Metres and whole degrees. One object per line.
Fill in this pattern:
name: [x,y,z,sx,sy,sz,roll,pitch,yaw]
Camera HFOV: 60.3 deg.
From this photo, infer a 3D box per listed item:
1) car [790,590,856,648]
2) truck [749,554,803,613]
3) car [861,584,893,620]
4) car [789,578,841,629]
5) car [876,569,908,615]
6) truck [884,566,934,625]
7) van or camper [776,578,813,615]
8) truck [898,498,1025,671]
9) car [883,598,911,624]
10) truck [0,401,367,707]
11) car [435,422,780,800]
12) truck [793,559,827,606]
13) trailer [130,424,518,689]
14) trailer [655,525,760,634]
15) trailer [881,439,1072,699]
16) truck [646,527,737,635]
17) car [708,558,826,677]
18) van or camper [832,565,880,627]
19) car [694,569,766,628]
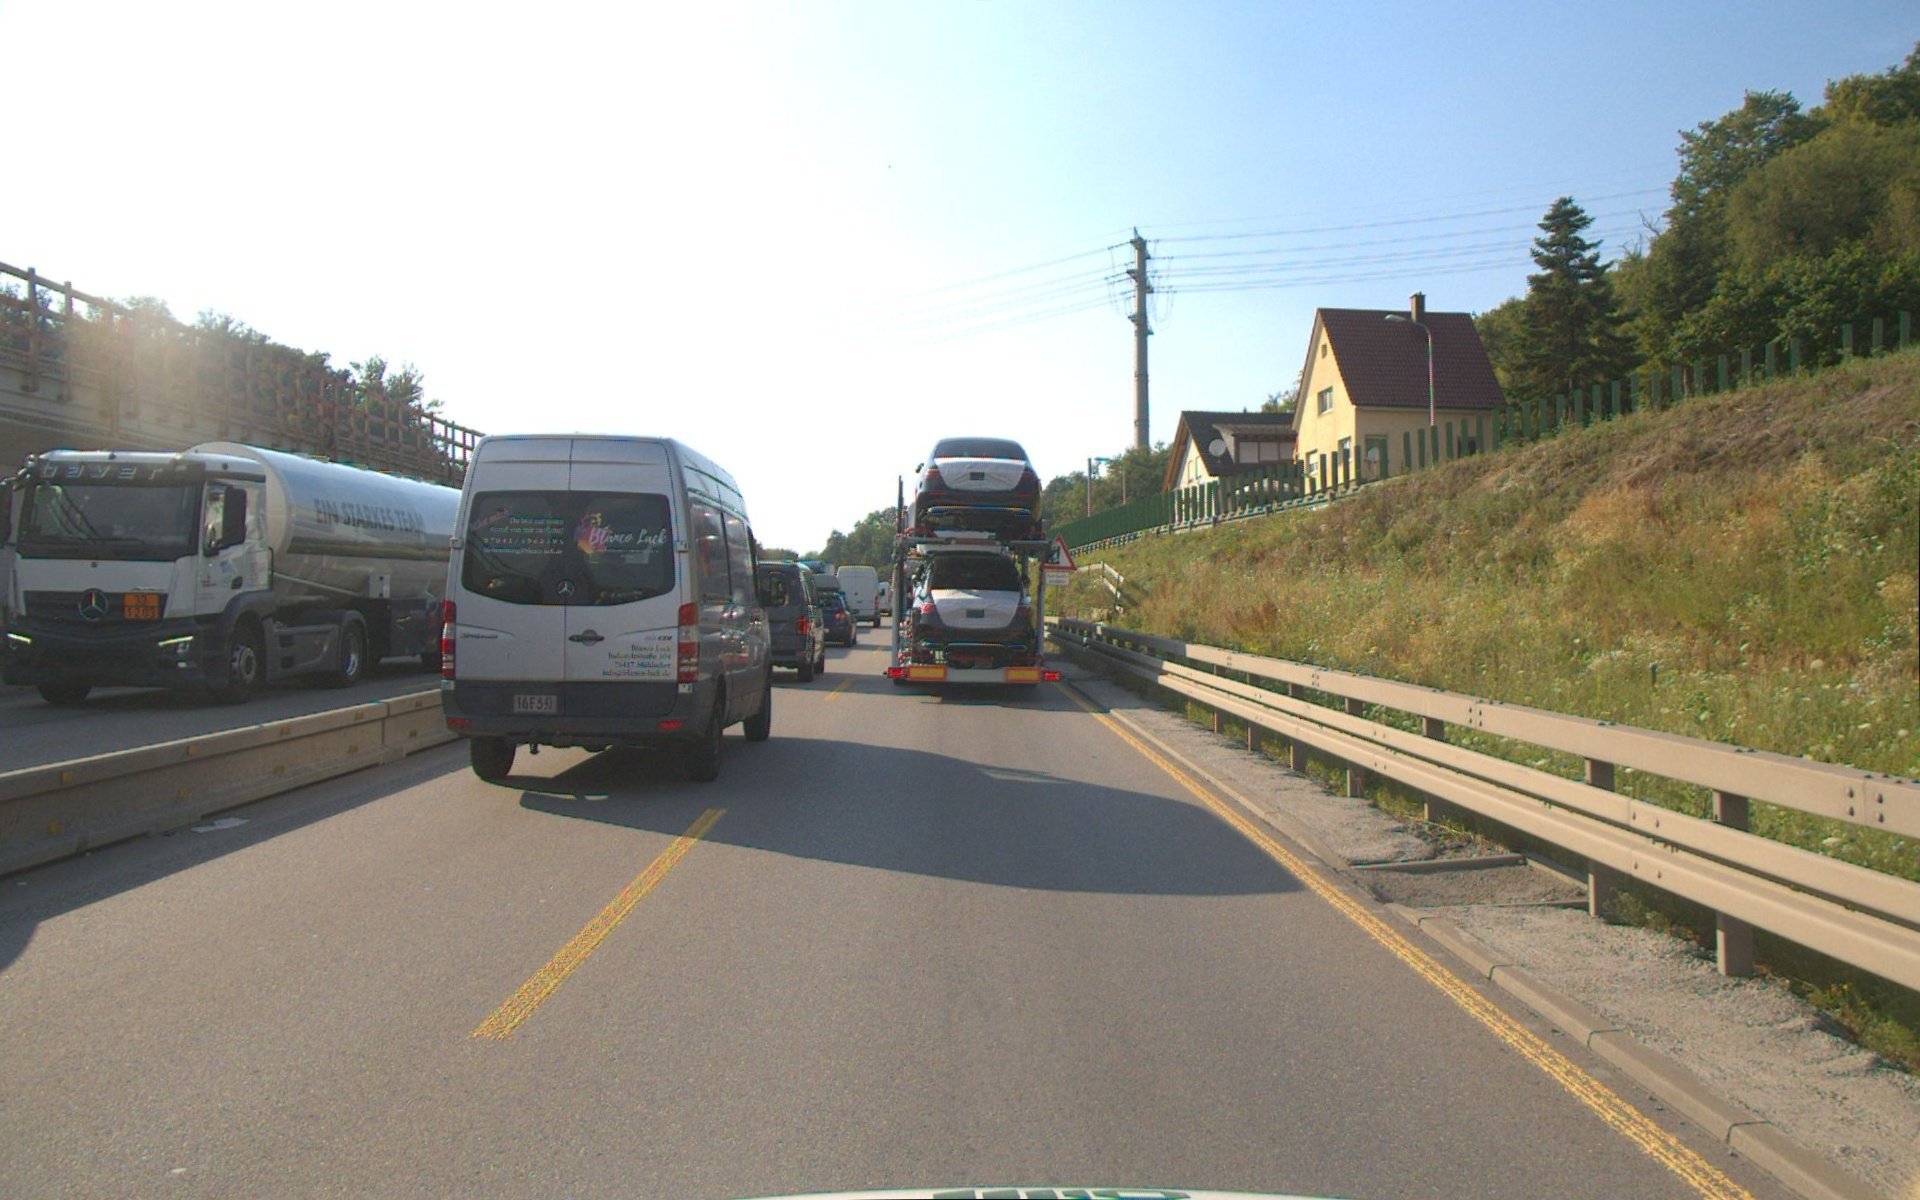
car: [-3.884,0.502,47.217,1.691,1.549,3.971,1,0,-3]
truck: [-11.543,-0.966,104.344,2.660,3.484,8.137,-2,-1,-2]
car: [-5.138,0.119,102.484,1.848,2.136,3.764,1,0,-2]
car: [-7.409,0.179,84.824,2.422,2.578,3.998,0,0,-2]
car: [-7.834,-0.902,189.063,3.376,5.123,9.646,1,0,-3]
truck: [-4.263,-0.390,139.997,3.982,4.761,10.590,0,0,-1]
van or camper: [-12.727,-0.304,127.501,2.265,2.709,6.453,-1,0,-1]
truck: [-0.017,-0.294,38.383,2.628,3.596,7.192,1,-1,-1]
car: [-4.731,0.819,124.204,1.953,1.892,3.999,0,0,-1]
truck: [-10.025,-0.496,21.757,2.497,3.469,5.529,1,-1,-1]
car: [-2.820,0.055,14.604,1.953,2.694,5.529,0,0,-1]
truck: [-14.036,-1.600,155.250,2.572,4.184,9.622,-2,0,-3]
trailer: [-10.147,-0.539,28.021,2.505,3.588,10.679,1,-1,-1]
trailer: [-10.957,-0.736,73.231,2.854,4.314,13.763,1,-1,-2]
trailer: [0.116,-0.375,30.858,2.628,3.596,15.284,1,0,-1]
truck: [-10.692,-0.690,66.331,2.803,4.078,5.656,1,-1,-2]
car: [-3.338,0.321,29.232,1.772,1.937,3.997,1,-1,-3]
van or camper: [-4.555,-0.145,73.294,1.928,2.637,5.039,1,-1,-2]
car: [-6.900,-0.011,49.968,1.607,1.674,4.687,1,-1,-2]
